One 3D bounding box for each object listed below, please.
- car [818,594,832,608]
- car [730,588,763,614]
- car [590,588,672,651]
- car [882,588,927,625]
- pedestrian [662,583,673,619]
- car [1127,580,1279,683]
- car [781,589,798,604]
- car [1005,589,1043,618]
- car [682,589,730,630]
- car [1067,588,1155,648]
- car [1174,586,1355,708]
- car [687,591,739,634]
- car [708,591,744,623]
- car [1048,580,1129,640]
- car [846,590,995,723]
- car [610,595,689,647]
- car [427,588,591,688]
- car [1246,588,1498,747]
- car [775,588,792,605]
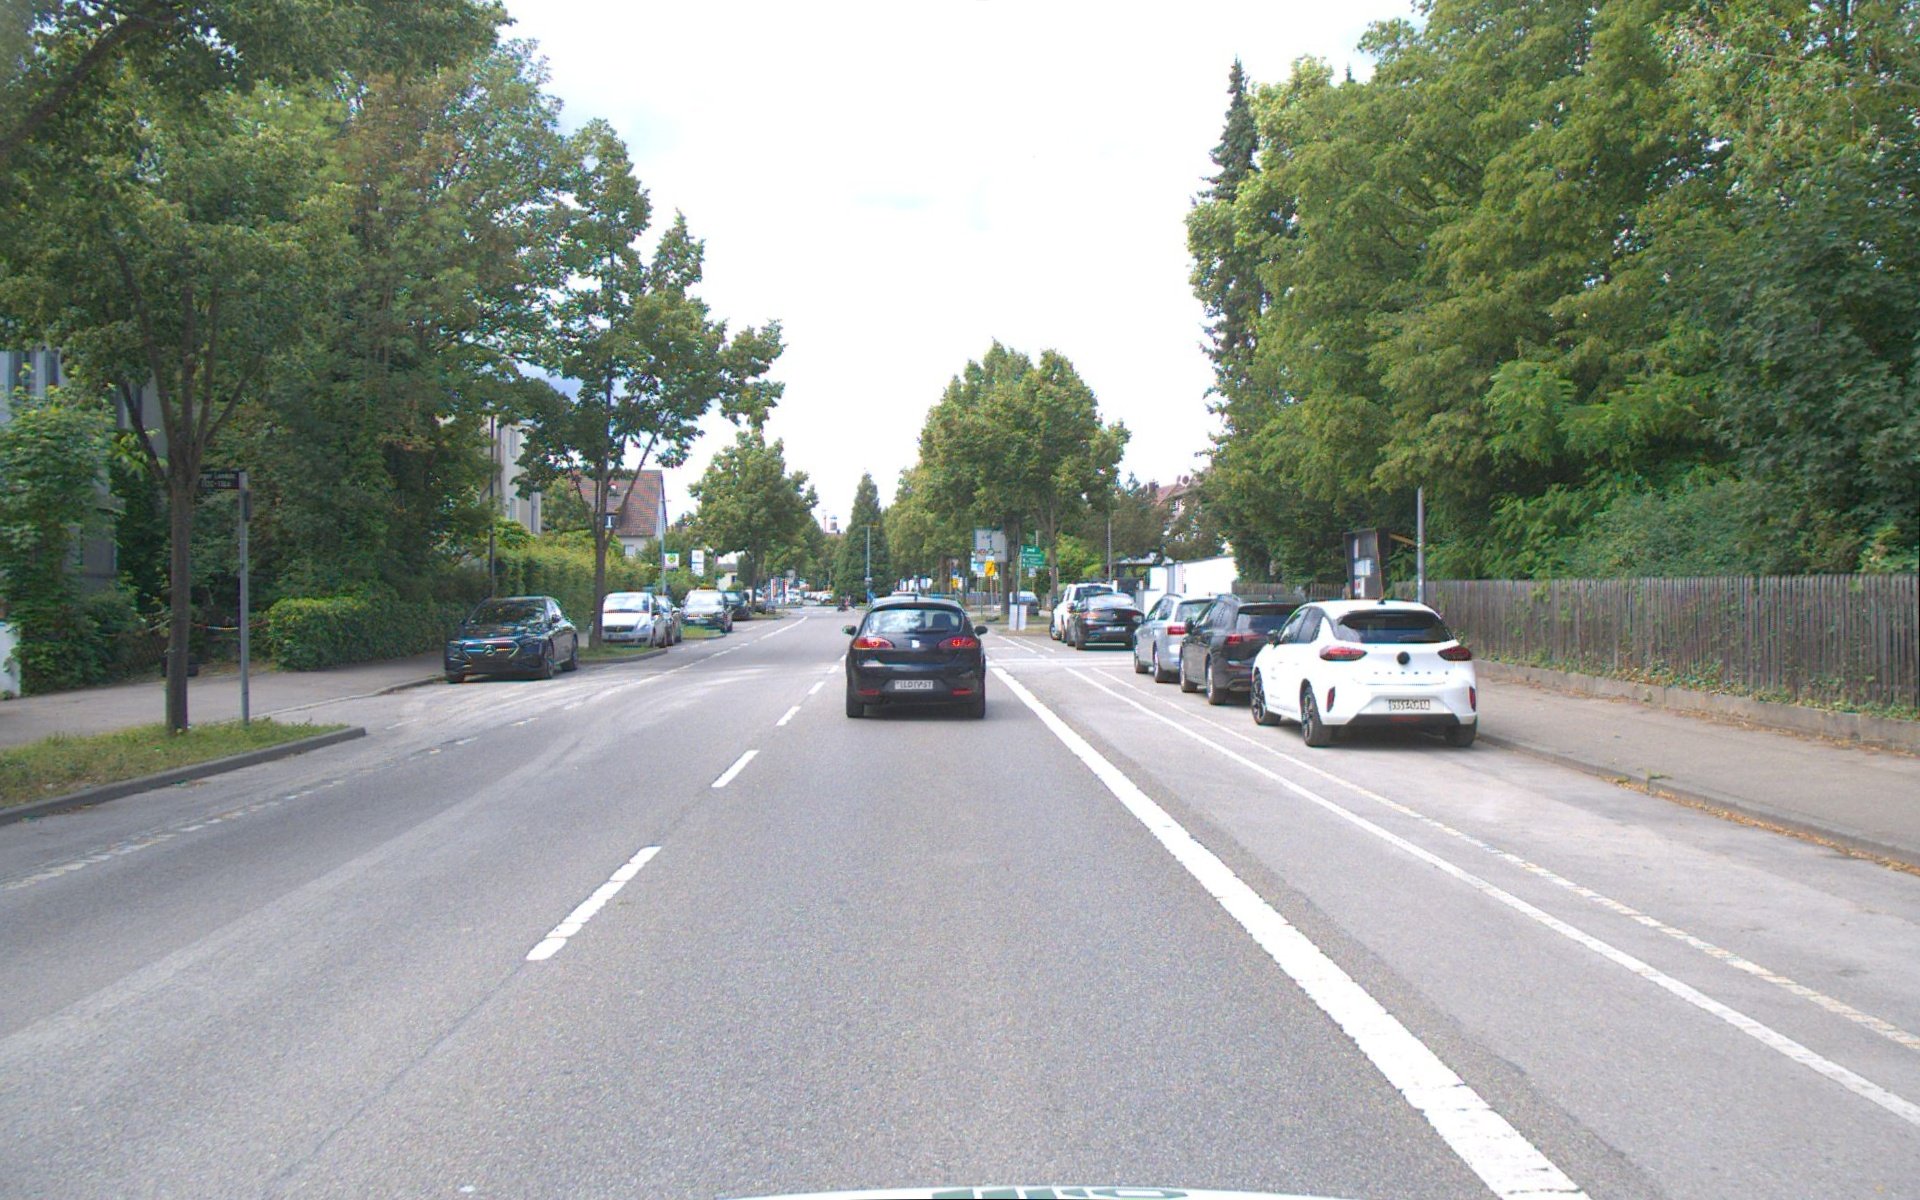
[{"bbox_3d":[-16.642,0.106,203.268,1.537,1.662,3.620,-1,0,-2],"label":"car"},{"bbox_3d":[-14.002,0.055,108.616,1.823,1.682,4.292,0,0,-2],"label":"car"},{"bbox_3d":[-9.087,0.516,45.961,1.684,1.641,3.908,-1,0,-3],"label":"car"},{"bbox_3d":[-2.473,0.273,74.294,1.953,1.641,3.999,0,0,-2],"label":"car"},{"bbox_3d":[-15.236,0.040,86.164,0.493,1.837,0.671,-1,0,-3],"label":"pedestrian"},{"bbox_3d":[4.158,0.520,29.025,1.824,1.639,4.685,1,0,-2],"label":"car"},{"bbox_3d":[-19.187,-0.379,186.440,1.762,1.629,3.997,-1,0,-4],"label":"car"},{"bbox_3d":[3.275,0.185,85.555,1.579,1.401,4.384,-1,-1,-3],"label":"car"},{"bbox_3d":[-10.885,0.371,71.151,1.785,1.662,4.581,-1,0,-6],"label":"car"},{"bbox_3d":[3.834,0.419,42.584,1.825,1.441,4.602,0,1,0],"label":"car"},{"bbox_3d":[4.226,0.589,23.610,1.667,1.536,4.537,1,1,-1],"label":"car"},{"bbox_3d":[-9.505,0.443,63.850,1.644,1.579,4.269,-1,0,-4],"label":"car"},{"bbox_3d":[-13.083,0.353,92.597,1.690,1.755,4.560,0,0,-5],"label":"car"},{"bbox_3d":[3.727,0.288,48.659,1.862,1.671,4.114,-1,0,-3],"label":"car"},{"bbox_3d":[-0.472,0.651,21.282,1.697,1.512,4.000,1,0,0],"label":"car"},{"bbox_3d":[-9.616,0.615,51.513,1.955,1.511,4.885,-1,0,-6],"label":"car"},{"bbox_3d":[-8.471,0.639,31.527,2.054,1.675,5.034,-2,1,-5],"label":"car"},{"bbox_3d":[4.355,0.660,18.092,1.731,1.537,4.030,0,0,0],"label":"car"},{"bbox_3d":[-21.773,-0.423,204.205,1.990,2.005,3.995,-1,0,-6],"label":"car"}]
